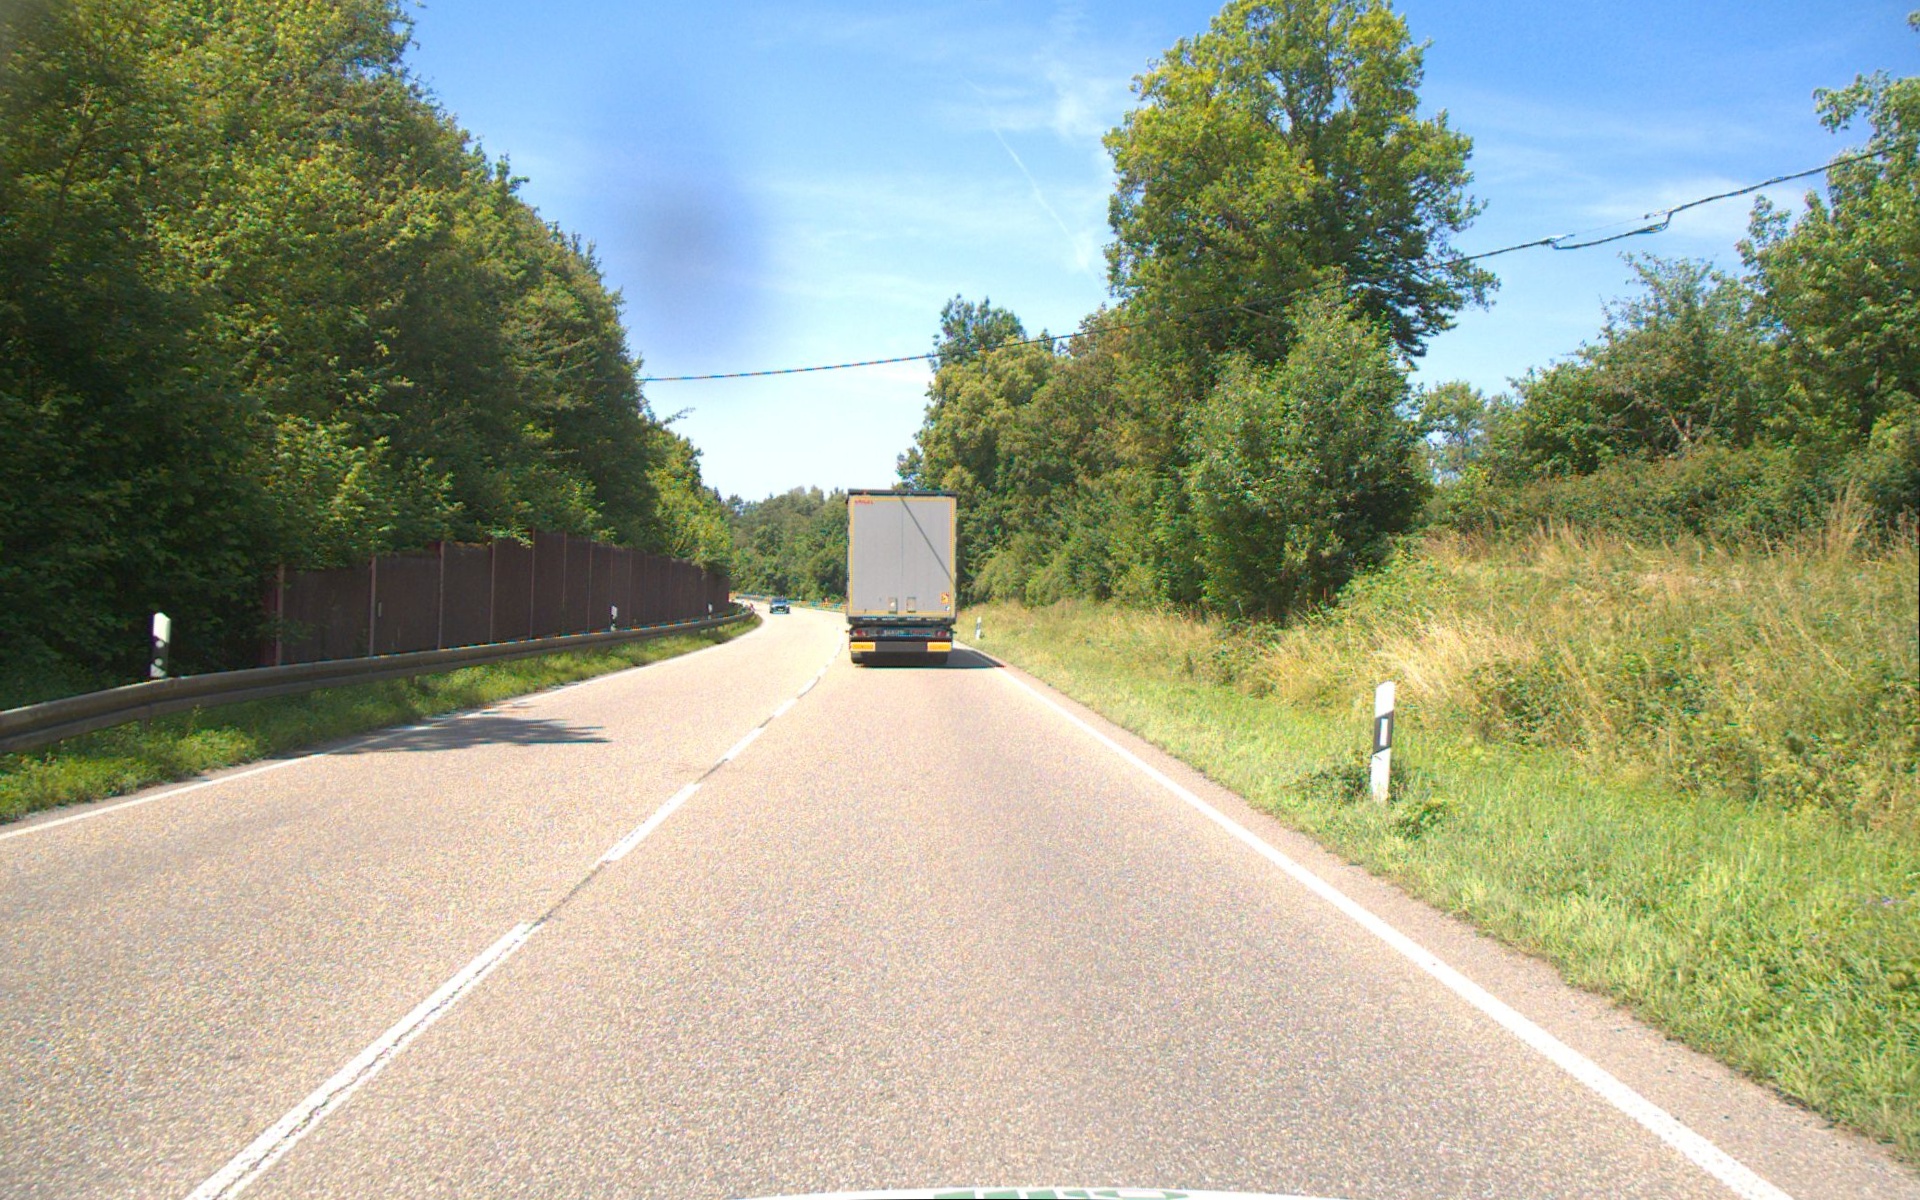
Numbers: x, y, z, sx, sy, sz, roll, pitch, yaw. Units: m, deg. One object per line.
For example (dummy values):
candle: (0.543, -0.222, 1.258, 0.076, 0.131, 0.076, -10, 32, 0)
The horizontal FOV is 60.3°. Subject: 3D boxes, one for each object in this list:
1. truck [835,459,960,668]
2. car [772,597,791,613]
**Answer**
truck: (-1.406, -0.777, 40.675, 2.765, 4.685, 6.664, 1, -1, 0)
car: (-17.124, 0.462, 158.910, 1.588, 1.517, 3.608, 0, 0, -10)
